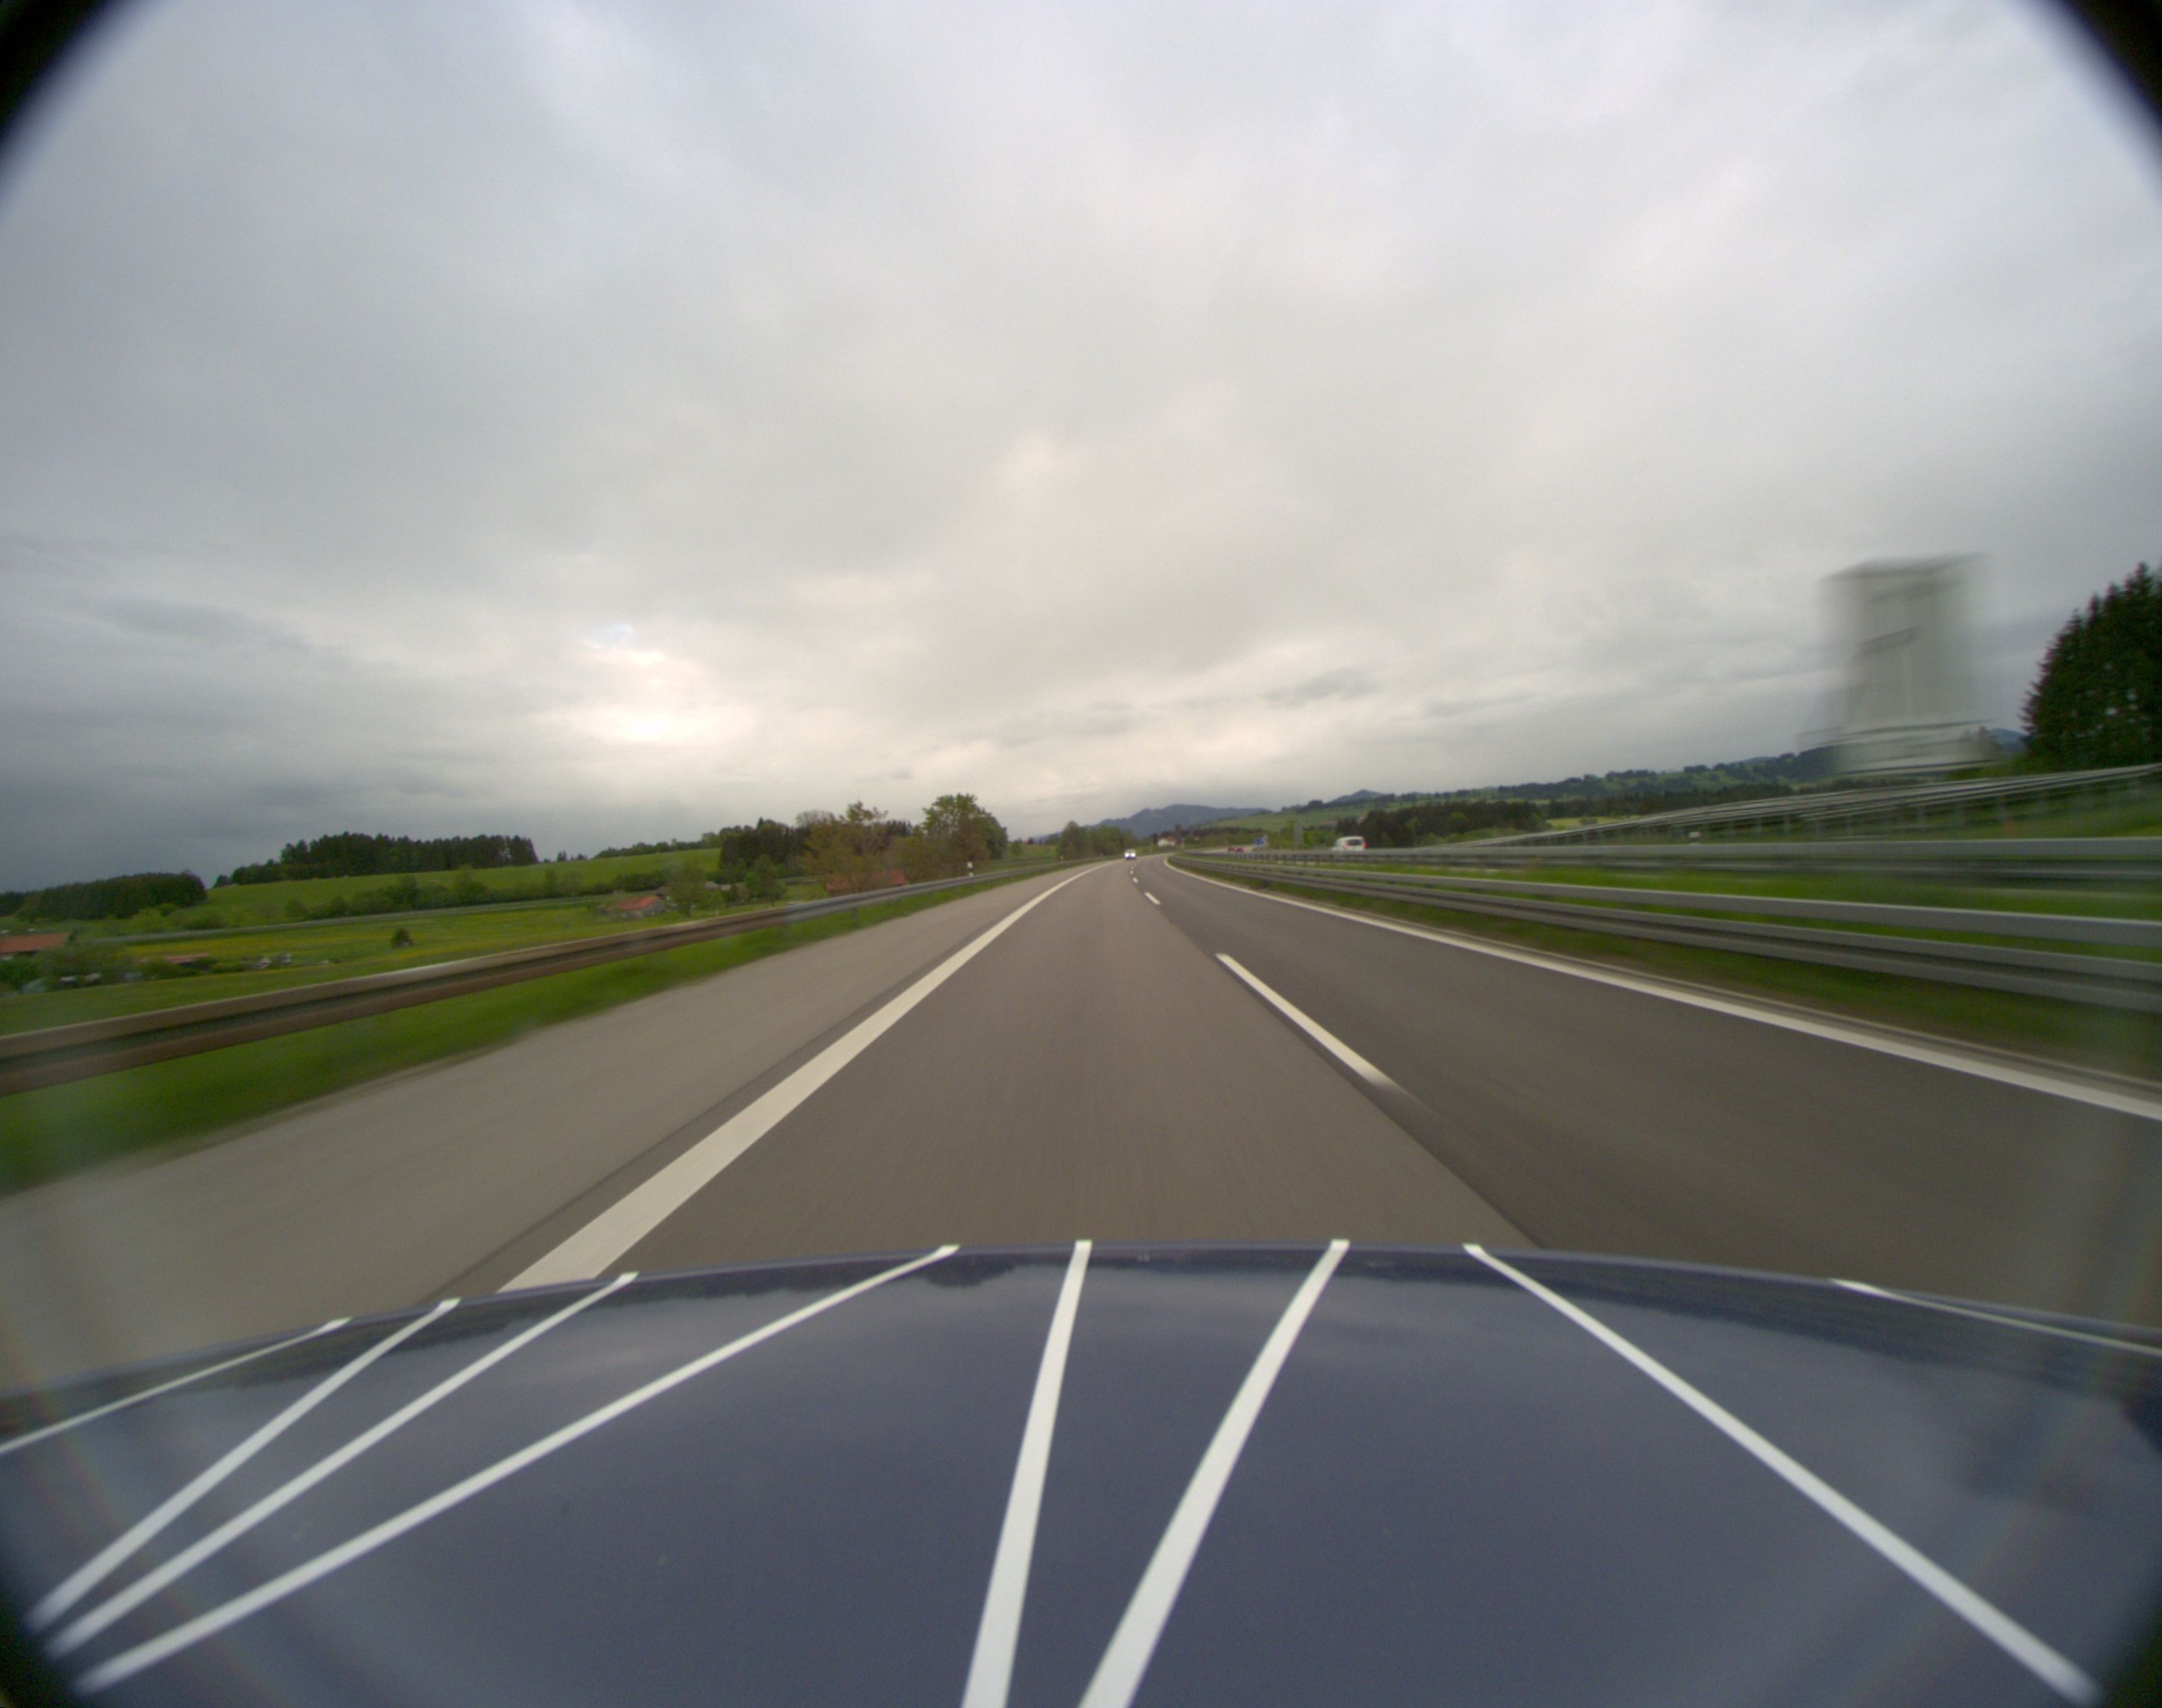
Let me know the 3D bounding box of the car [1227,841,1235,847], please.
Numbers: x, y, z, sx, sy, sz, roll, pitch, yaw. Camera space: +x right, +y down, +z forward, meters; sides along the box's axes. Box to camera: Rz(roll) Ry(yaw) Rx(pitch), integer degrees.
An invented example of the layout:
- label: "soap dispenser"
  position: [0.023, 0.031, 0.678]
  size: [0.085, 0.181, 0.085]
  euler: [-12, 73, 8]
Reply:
- label: "car"
  position: [40.828, -2.756, 206.990]
  size: [1.997, 1.409, 4.003]
  euler: [-5, 0, 13]

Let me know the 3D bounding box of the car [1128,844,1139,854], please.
- label: "car"
  position: [9.829, -0.896, 141.715]
  size: [2.020, 1.899, 4.222]
  euler: [-2, 0, 5]

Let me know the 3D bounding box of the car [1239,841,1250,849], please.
- label: "car"
  position: [35.733, -1.991, 166.170]
  size: [1.997, 1.431, 5.003]
  euler: [-5, 0, 11]

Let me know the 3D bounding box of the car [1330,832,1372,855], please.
- label: "car"
  position: [22.502, -0.860, 63.539]
  size: [1.998, 1.676, 4.628]
  euler: [-5, 0, 4]
